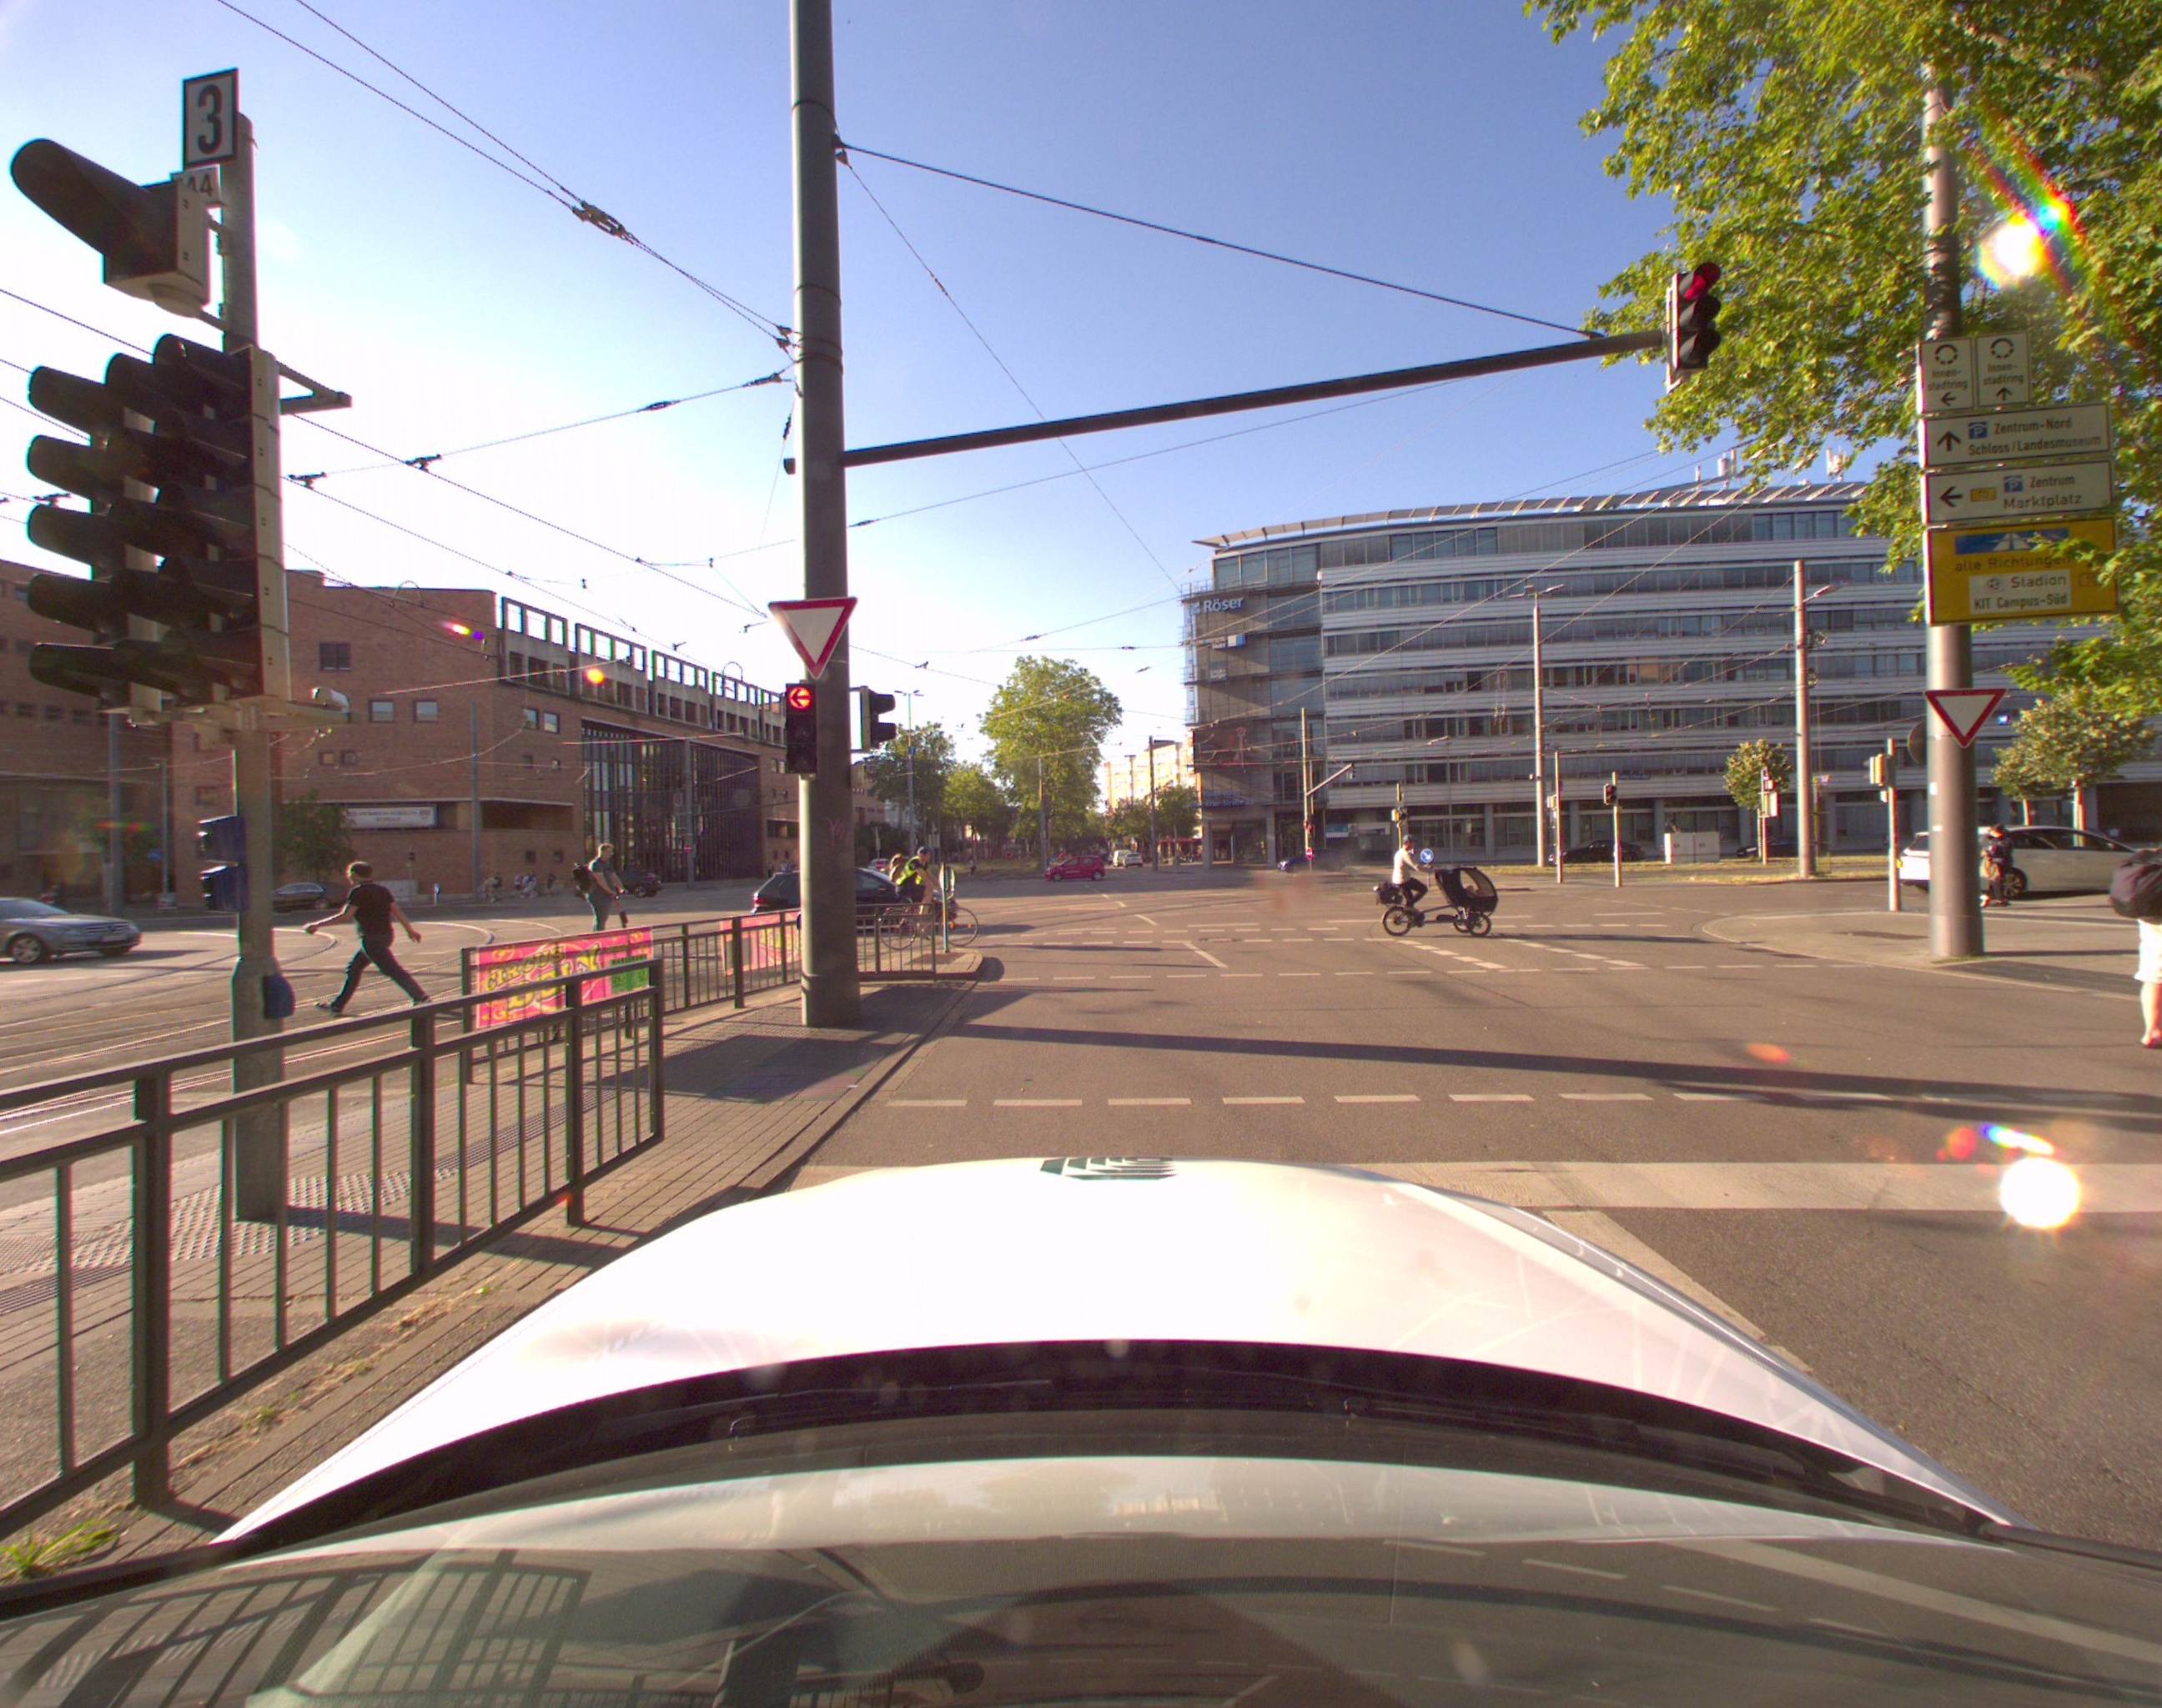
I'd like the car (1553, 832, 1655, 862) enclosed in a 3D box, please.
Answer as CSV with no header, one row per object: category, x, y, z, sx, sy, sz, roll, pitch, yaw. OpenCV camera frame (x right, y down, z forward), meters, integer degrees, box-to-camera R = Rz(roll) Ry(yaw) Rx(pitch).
car,27.759,-0.369,43.348,4.219,1.392,1.799,-2,0,6

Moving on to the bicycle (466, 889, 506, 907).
bicycle,-33.518,2.463,45.913,1.746,0.899,0.406,-2,0,-18

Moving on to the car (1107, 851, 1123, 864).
car,4.392,0.442,105.106,1.986,1.662,4.002,-2,0,2

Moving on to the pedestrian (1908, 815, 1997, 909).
pedestrian,17.385,0.150,16.270,0.840,1.820,0.870,-1,0,9

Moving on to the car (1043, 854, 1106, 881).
car,-0.428,0.782,48.760,3.593,1.466,1.791,-2,0,-7

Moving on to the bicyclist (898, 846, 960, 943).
bicyclist,-2.680,0.700,14.422,0.900,1.664,0.640,-2,0,4

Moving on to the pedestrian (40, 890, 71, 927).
pedestrian,-45.810,2.440,36.380,0.542,1.613,0.613,0,1,-3

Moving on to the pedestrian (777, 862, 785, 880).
pedestrian,-30.555,1.710,82.925,0.519,1.779,0.547,-2,0,9

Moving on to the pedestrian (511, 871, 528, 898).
pedestrian,-35.754,1.935,51.859,0.622,1.650,0.538,-2,0,-3

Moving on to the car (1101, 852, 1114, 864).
car,4.144,0.588,126.901,1.986,1.662,4.002,-2,0,2

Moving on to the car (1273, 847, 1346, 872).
car,14.065,0.315,50.231,3.972,1.348,1.977,-2,0,2

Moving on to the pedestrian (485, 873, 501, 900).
pedestrian,-35.343,1.962,48.916,0.538,1.613,0.575,-2,0,33

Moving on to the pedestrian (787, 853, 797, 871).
pedestrian,-29.349,0.804,82.710,0.637,1.810,0.547,-2,0,9

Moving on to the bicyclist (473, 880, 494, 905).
bicyclist,-33.641,2.181,45.881,0.821,1.366,0.398,-2,0,-18

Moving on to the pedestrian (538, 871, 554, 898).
pedestrian,-34.550,1.967,52.586,0.622,1.650,0.537,-2,0,-5

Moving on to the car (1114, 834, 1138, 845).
car,7.788,-2.539,140.468,3.732,1.750,1.789,0,-1,16

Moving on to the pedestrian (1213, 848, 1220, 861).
pedestrian,15.775,0.041,94.511,0.734,1.465,0.538,-2,0,11

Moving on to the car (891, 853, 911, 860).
car,-38.660,0.584,175.016,4.011,1.552,1.592,0,-1,-29

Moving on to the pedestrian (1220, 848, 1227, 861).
pedestrian,16.501,0.104,94.234,0.701,1.465,0.385,-2,0,11

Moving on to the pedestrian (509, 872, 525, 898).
pedestrian,-36.536,1.996,52.723,0.622,1.650,0.538,-2,0,-3

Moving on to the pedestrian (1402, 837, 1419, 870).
pedestrian,17.199,-0.020,42.493,0.715,1.681,0.558,-1,0,9

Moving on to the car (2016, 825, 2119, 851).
car,60.256,-0.964,49.777,3.970,1.398,1.761,-2,0,3

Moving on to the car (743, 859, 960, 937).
car,-5.078,0.952,18.579,4.376,1.517,1.997,-2,1,-4

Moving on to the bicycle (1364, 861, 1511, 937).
bicycle,6.216,0.769,14.339,2.144,1.226,1.075,-1,1,9

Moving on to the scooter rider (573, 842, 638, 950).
scooter rider,-8.621,0.747,14.789,0.660,1.896,0.737,-2,0,4

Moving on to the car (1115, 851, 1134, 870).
car,4.746,0.675,89.769,1.986,1.991,4.002,-2,0,2

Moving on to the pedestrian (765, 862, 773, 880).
pedestrian,-31.419,1.730,81.956,0.487,1.810,0.547,-2,0,9

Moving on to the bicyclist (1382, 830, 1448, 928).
bicyclist,5.882,0.432,14.377,0.899,1.681,0.692,-1,0,8

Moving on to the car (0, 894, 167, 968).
car,-23.059,1.675,17.475,4.371,1.379,1.997,-2,0,-4

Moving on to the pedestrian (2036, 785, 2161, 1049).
pedestrian,8.152,0.442,6.142,1.072,1.871,0.737,-1,0,-6

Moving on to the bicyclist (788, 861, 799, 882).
bicyclist,-23.502,1.405,66.612,0.592,1.675,0.788,-2,0,-4

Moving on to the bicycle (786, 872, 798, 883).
bicycle,-23.592,1.920,66.553,0.512,0.881,1.835,-2,0,-6

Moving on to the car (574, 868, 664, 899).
car,-25.101,1.589,44.408,3.867,1.507,1.786,-2,0,-15

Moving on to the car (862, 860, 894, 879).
car,-18.025,1.349,72.489,1.990,1.508,3.994,-2,0,-4

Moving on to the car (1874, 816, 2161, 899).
car,22.063,0.067,19.111,4.814,1.727,2.002,-2,0,3

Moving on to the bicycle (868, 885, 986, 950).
bicycle,-2.710,1.109,14.419,1.914,1.064,0.630,-1,0,4

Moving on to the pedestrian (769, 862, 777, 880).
pedestrian,-31.413,1.686,83.128,0.487,1.810,0.547,-2,0,9

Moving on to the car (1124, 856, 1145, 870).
car,5.436,0.869,82.908,1.986,1.332,4.002,-2,0,2

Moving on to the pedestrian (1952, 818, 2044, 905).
pedestrian,18.328,0.146,16.301,0.840,1.681,0.870,-1,0,9

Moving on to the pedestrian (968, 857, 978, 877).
pedestrian,-8.461,1.029,63.634,0.753,1.530,0.507,-1,0,-6

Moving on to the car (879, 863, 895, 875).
car,-26.341,2.001,110.593,1.906,1.510,3.987,0,-1,-9

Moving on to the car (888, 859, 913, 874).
car,-19.446,1.371,87.769,1.990,1.508,3.994,-2,0,-4

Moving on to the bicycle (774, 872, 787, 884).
bicycle,-24.413,1.969,66.267,0.512,0.881,1.835,-2,0,-6

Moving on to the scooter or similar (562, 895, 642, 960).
scooter or similar,-8.662,1.318,14.743,1.201,1.104,0.403,-2,0,4

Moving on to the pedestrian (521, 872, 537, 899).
pedestrian,-34.996,1.985,51.620,0.622,1.650,0.538,-2,0,-3

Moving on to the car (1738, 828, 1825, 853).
car,44.606,-0.845,51.917,3.970,1.398,1.761,-2,0,3

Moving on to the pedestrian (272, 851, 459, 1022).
pedestrian,-8.212,0.905,9.424,1.207,1.822,1.040,-2,-1,-5

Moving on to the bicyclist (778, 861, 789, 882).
bicyclist,-24.270,1.407,66.375,0.592,1.675,0.788,-2,0,-4

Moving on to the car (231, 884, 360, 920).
car,-38.152,2.321,39.653,4.238,1.434,1.790,-2,0,-8
